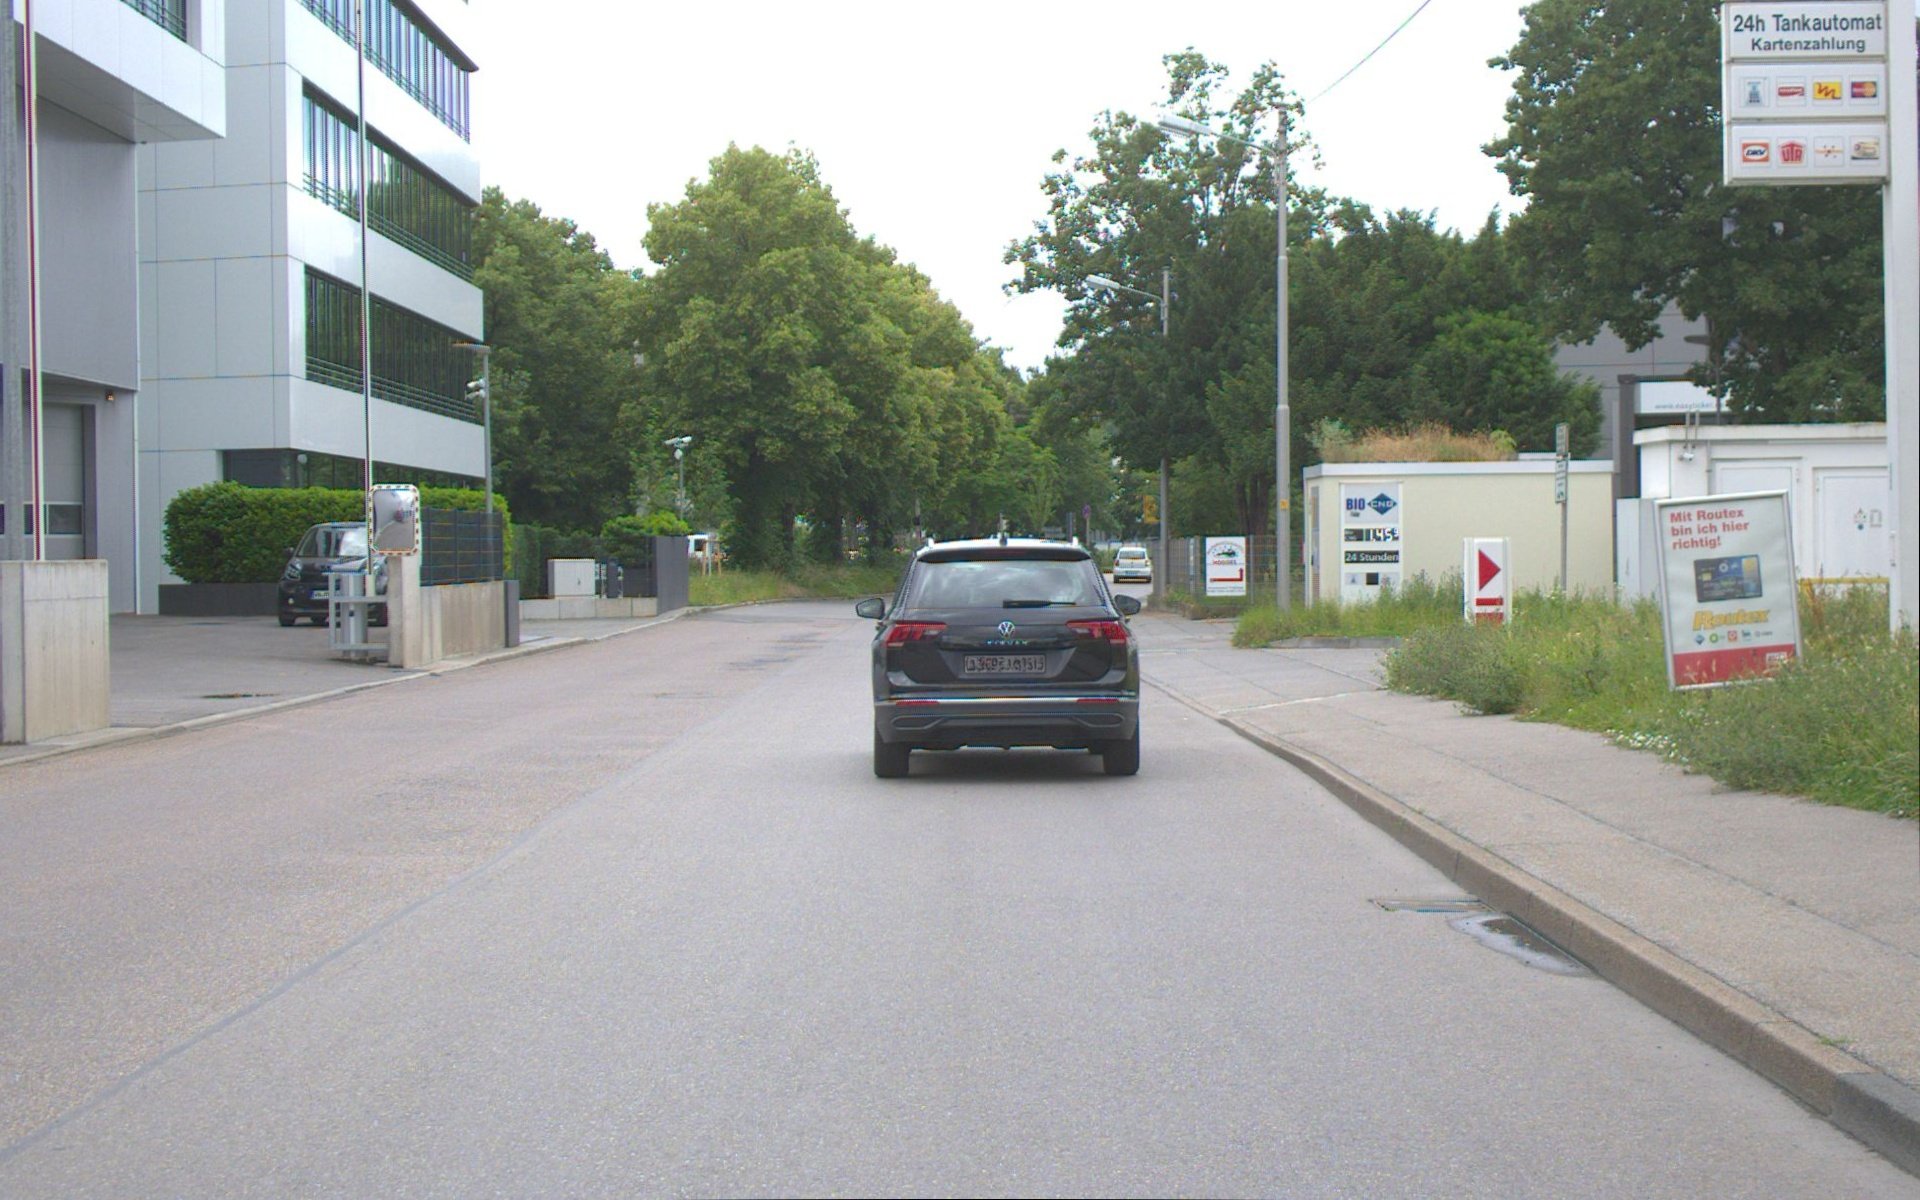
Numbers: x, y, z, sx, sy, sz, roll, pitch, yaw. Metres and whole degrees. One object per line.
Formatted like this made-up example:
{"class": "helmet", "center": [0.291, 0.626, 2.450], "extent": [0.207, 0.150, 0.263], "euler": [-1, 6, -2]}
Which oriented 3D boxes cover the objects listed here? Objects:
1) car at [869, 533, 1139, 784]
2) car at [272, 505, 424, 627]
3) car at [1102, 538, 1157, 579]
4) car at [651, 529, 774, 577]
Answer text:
{"class": "car", "center": [0.355, 0.371, 24.179], "extent": [1.739, 1.612, 3.641], "euler": [1, 0, 2]}
{"class": "car", "center": [-9.235, -0.522, 52.063], "extent": [1.650, 1.756, 3.179], "euler": [1, 1, 1]}
{"class": "car", "center": [7.446, -1.821, 150.534], "extent": [1.994, 1.780, 3.999], "euler": [1, 1, 8]}
{"class": "car", "center": [-12.769, -2.422, 177.820], "extent": [6.071, 2.379, 2.394], "euler": [-1, 1, 3]}
